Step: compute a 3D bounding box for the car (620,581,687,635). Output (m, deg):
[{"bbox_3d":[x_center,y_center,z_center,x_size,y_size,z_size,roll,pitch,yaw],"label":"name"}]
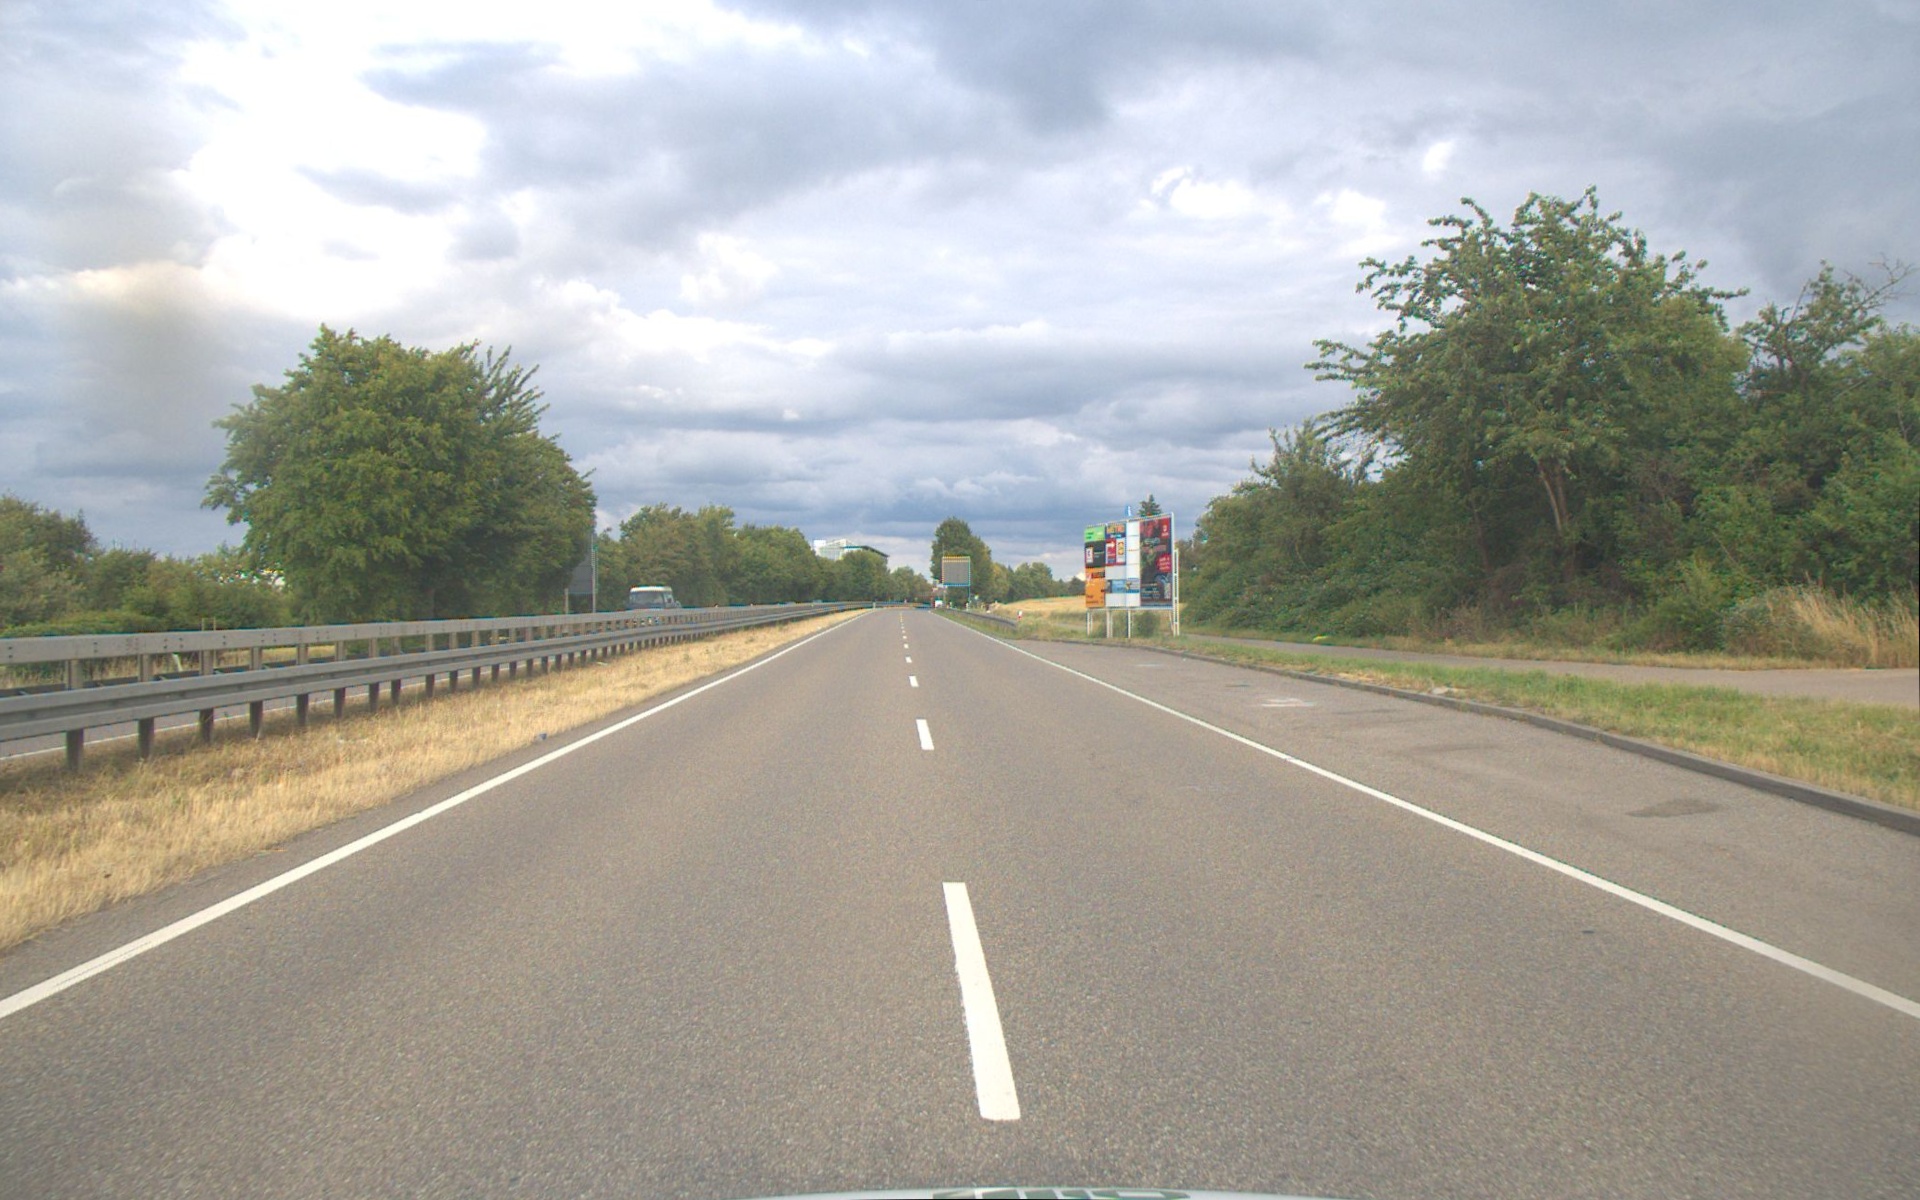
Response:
[{"bbox_3d":[-13.267,0.338,71.881,1.953,2.178,5.318,-2,0,-1],"label":"car"}]
